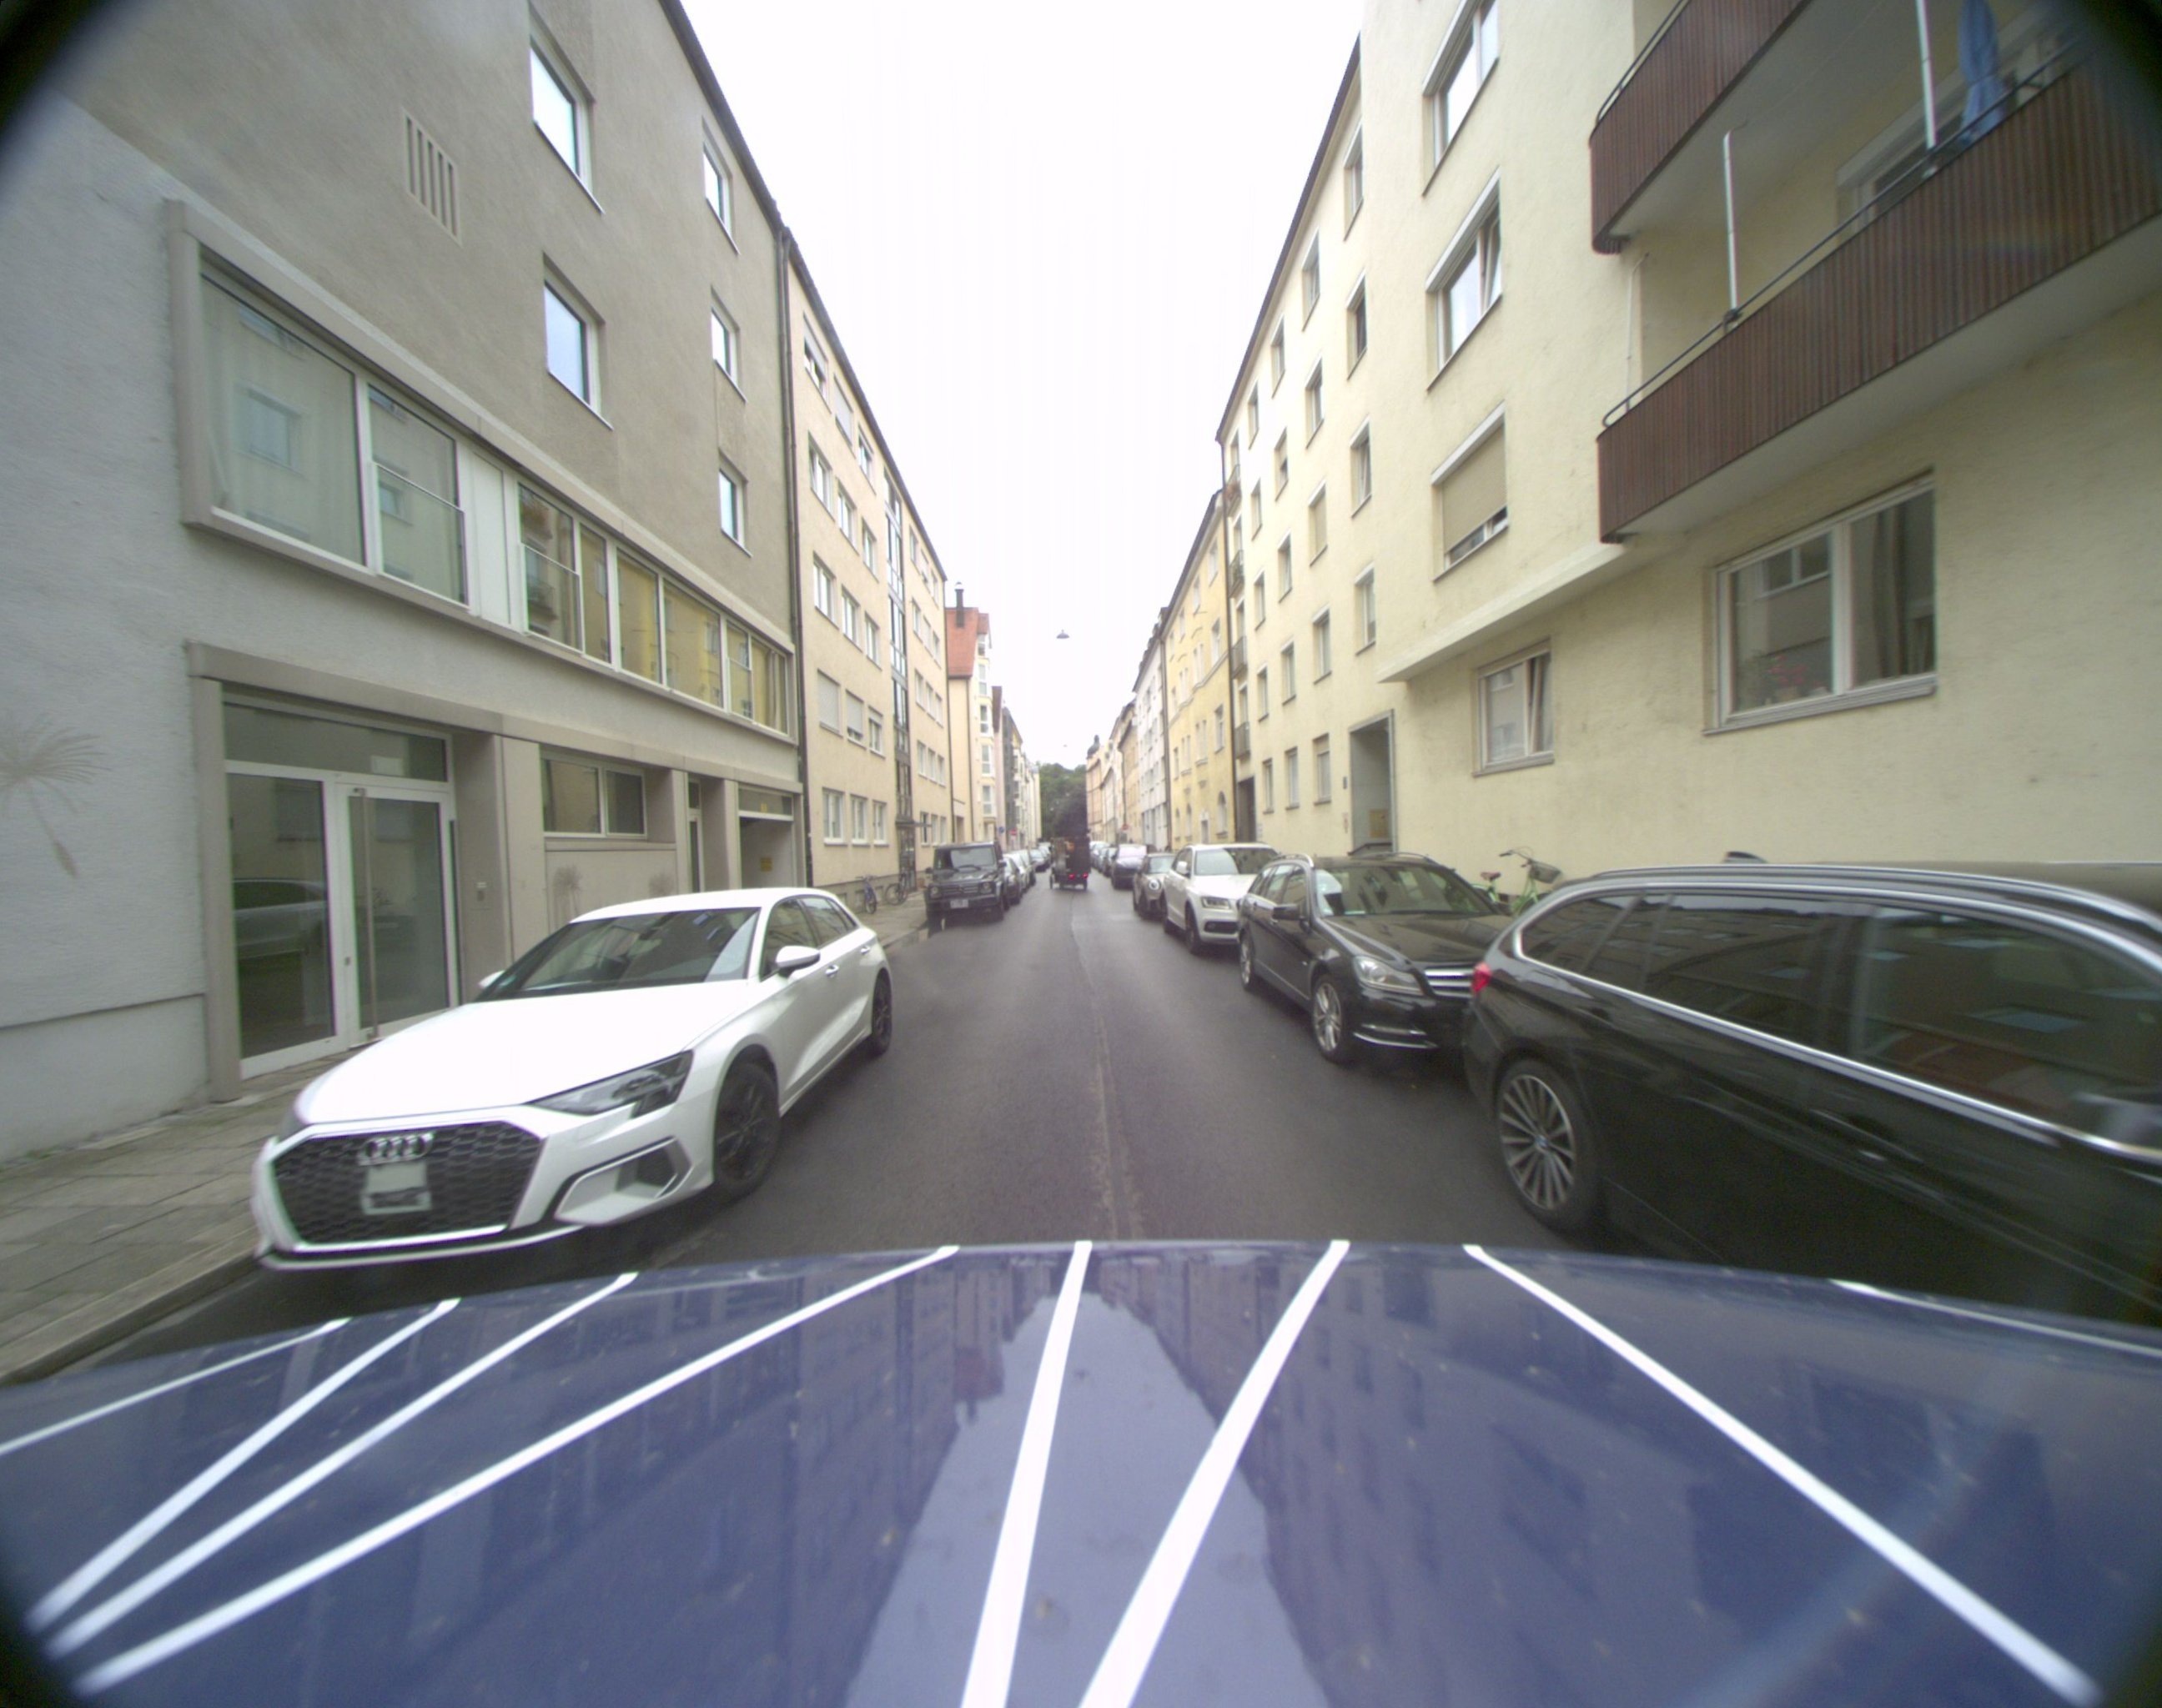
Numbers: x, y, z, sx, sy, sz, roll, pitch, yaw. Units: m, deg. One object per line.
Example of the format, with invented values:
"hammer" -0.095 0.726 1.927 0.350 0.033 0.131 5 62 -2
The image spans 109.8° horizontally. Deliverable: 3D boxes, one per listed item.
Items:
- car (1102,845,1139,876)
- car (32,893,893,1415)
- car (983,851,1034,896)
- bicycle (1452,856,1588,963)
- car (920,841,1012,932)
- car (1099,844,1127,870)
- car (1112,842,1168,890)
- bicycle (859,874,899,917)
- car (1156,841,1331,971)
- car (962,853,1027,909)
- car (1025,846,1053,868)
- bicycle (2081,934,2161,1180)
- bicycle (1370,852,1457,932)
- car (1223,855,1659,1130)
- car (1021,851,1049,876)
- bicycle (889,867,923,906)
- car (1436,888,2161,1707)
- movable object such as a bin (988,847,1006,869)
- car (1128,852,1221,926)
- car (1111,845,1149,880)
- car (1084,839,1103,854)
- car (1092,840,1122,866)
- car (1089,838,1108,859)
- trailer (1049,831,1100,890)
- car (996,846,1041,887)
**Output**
"car" 2.025 0.309 39.845 1.567 1.452 3.762 -1 1 -2
"car" -2.544 1.108 4.520 1.823 1.400 3.951 -3 1 -1
"car" -2.796 0.706 30.094 1.716 1.477 4.242 -3 2 -2
"bicycle" 5.354 0.625 9.409 0.647 1.155 1.788 -1 1 0
"car" -2.828 0.735 19.606 1.755 1.964 4.341 -5 1 -2
"car" 1.889 0.176 45.765 1.566 1.452 3.403 -1 1 1
"car" 2.197 0.382 29.434 1.884 1.650 4.414 -1 1 1
"bicycle" -5.511 1.119 20.817 0.646 1.023 1.796 1 1 -1
"car" 2.376 0.655 12.257 1.770 1.666 4.366 -1 1 -1
"car" -2.724 0.789 24.669 1.716 1.477 4.242 -3 2 -2
"car" -3.093 0.203 56.608 1.837 1.398 4.409 -3 2 -1
"bicycle" 5.485 1.009 3.058 0.536 1.155 1.788 0 1 0
"bicycle" 5.227 0.556 12.059 0.582 1.155 1.788 0 1 0
"car" 2.516 0.818 6.644 1.770 1.475 4.423 -1 1 1
"car" -3.061 0.594 50.769 1.721 1.463 4.529 -3 2 -3
"bicycle" -5.477 1.010 23.833 0.656 1.100 1.759 1 1 -1
"car" 2.630 0.909 1.464 1.860 1.400 4.382 -1 1 0
"movable object such as a bin" -5.474 0.236 49.720 1.035 1.415 1.586 0 2 -1
"car" 2.055 0.714 17.608 1.656 1.427 3.801 -1 1 0
"car" 2.197 0.355 34.962 1.567 1.452 3.475 -1 1 1
"car" 1.347 -0.796 84.059 1.786 1.596 4.306 0 1 -4
"car" 1.855 -0.118 55.697 1.868 1.760 4.733 0 2 -2
"car" 1.581 -0.523 69.405 1.728 1.779 4.247 0 2 1
"trailer" -0.298 0.200 29.571 1.360 2.104 3.314 -3 2 -10
"car" -2.783 0.518 34.716 1.716 1.599 4.242 -3 2 -2
